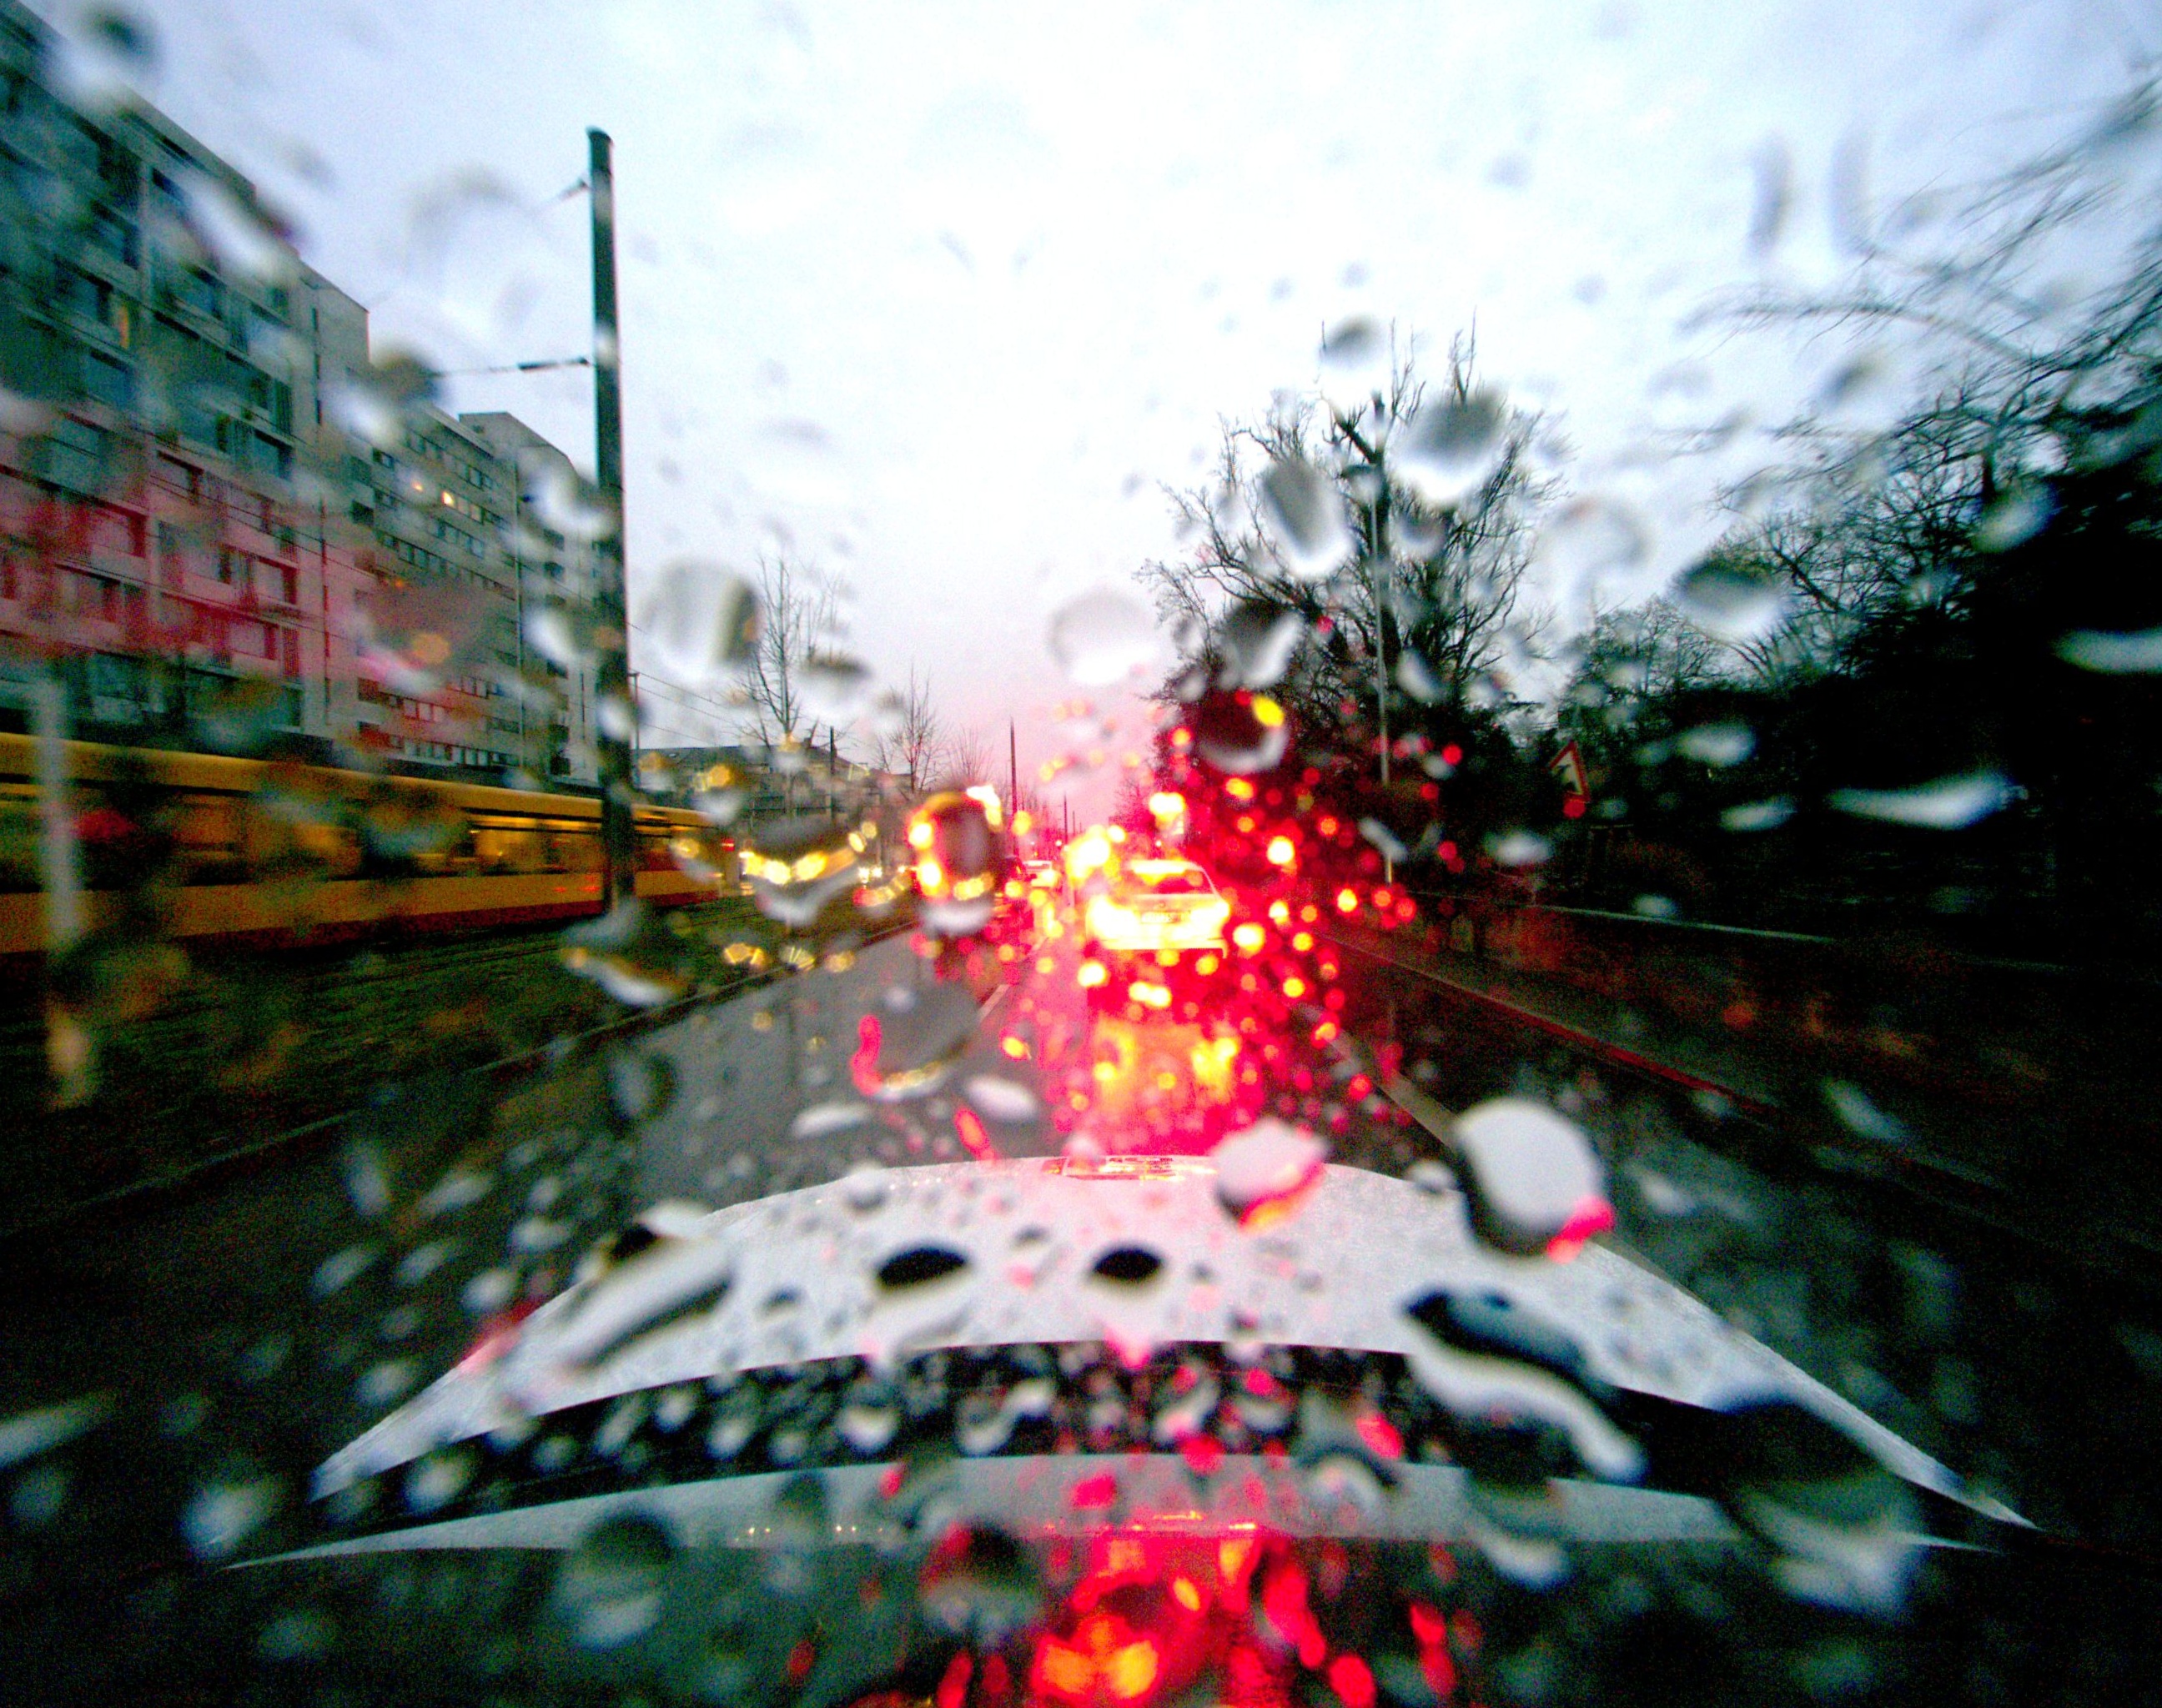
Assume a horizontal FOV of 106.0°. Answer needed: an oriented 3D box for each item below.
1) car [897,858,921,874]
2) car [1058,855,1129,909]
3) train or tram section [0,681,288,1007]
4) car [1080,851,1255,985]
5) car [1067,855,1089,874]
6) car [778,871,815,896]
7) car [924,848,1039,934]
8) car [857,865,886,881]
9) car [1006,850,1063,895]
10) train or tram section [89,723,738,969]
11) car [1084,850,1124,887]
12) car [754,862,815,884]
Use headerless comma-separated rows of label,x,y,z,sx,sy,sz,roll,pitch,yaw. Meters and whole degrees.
car,-19.800,1.382,93.811,1.892,1.719,5.112,-2,0,-3
car,0.433,0.769,24.615,1.928,1.457,4.166,-1,0,2
train or tram section,-13.155,-0.068,4.581,2.946,3.487,14.324,-2,0,2
car,1.078,0.737,11.458,1.991,1.508,4.166,-1,0,2
car,-0.267,0.945,74.523,1.799,1.646,4.002,-1,0,2
car,-23.723,2.425,68.016,1.718,1.885,3.923,-2,0,-2
car,-2.017,0.711,17.608,1.799,1.646,4.002,-1,0,2
car,-20.159,1.792,78.654,1.891,1.431,3.704,-2,0,-2
car,-1.847,0.730,33.693,1.986,1.755,4.001,0,0,2
train or tram section,-12.727,-0.108,18.980,2.946,3.487,14.271,-2,0,2
car,1.137,0.653,38.679,1.799,1.646,4.002,-1,0,2
car,-29.045,1.834,79.930,5.193,1.912,1.975,-2,0,-43
